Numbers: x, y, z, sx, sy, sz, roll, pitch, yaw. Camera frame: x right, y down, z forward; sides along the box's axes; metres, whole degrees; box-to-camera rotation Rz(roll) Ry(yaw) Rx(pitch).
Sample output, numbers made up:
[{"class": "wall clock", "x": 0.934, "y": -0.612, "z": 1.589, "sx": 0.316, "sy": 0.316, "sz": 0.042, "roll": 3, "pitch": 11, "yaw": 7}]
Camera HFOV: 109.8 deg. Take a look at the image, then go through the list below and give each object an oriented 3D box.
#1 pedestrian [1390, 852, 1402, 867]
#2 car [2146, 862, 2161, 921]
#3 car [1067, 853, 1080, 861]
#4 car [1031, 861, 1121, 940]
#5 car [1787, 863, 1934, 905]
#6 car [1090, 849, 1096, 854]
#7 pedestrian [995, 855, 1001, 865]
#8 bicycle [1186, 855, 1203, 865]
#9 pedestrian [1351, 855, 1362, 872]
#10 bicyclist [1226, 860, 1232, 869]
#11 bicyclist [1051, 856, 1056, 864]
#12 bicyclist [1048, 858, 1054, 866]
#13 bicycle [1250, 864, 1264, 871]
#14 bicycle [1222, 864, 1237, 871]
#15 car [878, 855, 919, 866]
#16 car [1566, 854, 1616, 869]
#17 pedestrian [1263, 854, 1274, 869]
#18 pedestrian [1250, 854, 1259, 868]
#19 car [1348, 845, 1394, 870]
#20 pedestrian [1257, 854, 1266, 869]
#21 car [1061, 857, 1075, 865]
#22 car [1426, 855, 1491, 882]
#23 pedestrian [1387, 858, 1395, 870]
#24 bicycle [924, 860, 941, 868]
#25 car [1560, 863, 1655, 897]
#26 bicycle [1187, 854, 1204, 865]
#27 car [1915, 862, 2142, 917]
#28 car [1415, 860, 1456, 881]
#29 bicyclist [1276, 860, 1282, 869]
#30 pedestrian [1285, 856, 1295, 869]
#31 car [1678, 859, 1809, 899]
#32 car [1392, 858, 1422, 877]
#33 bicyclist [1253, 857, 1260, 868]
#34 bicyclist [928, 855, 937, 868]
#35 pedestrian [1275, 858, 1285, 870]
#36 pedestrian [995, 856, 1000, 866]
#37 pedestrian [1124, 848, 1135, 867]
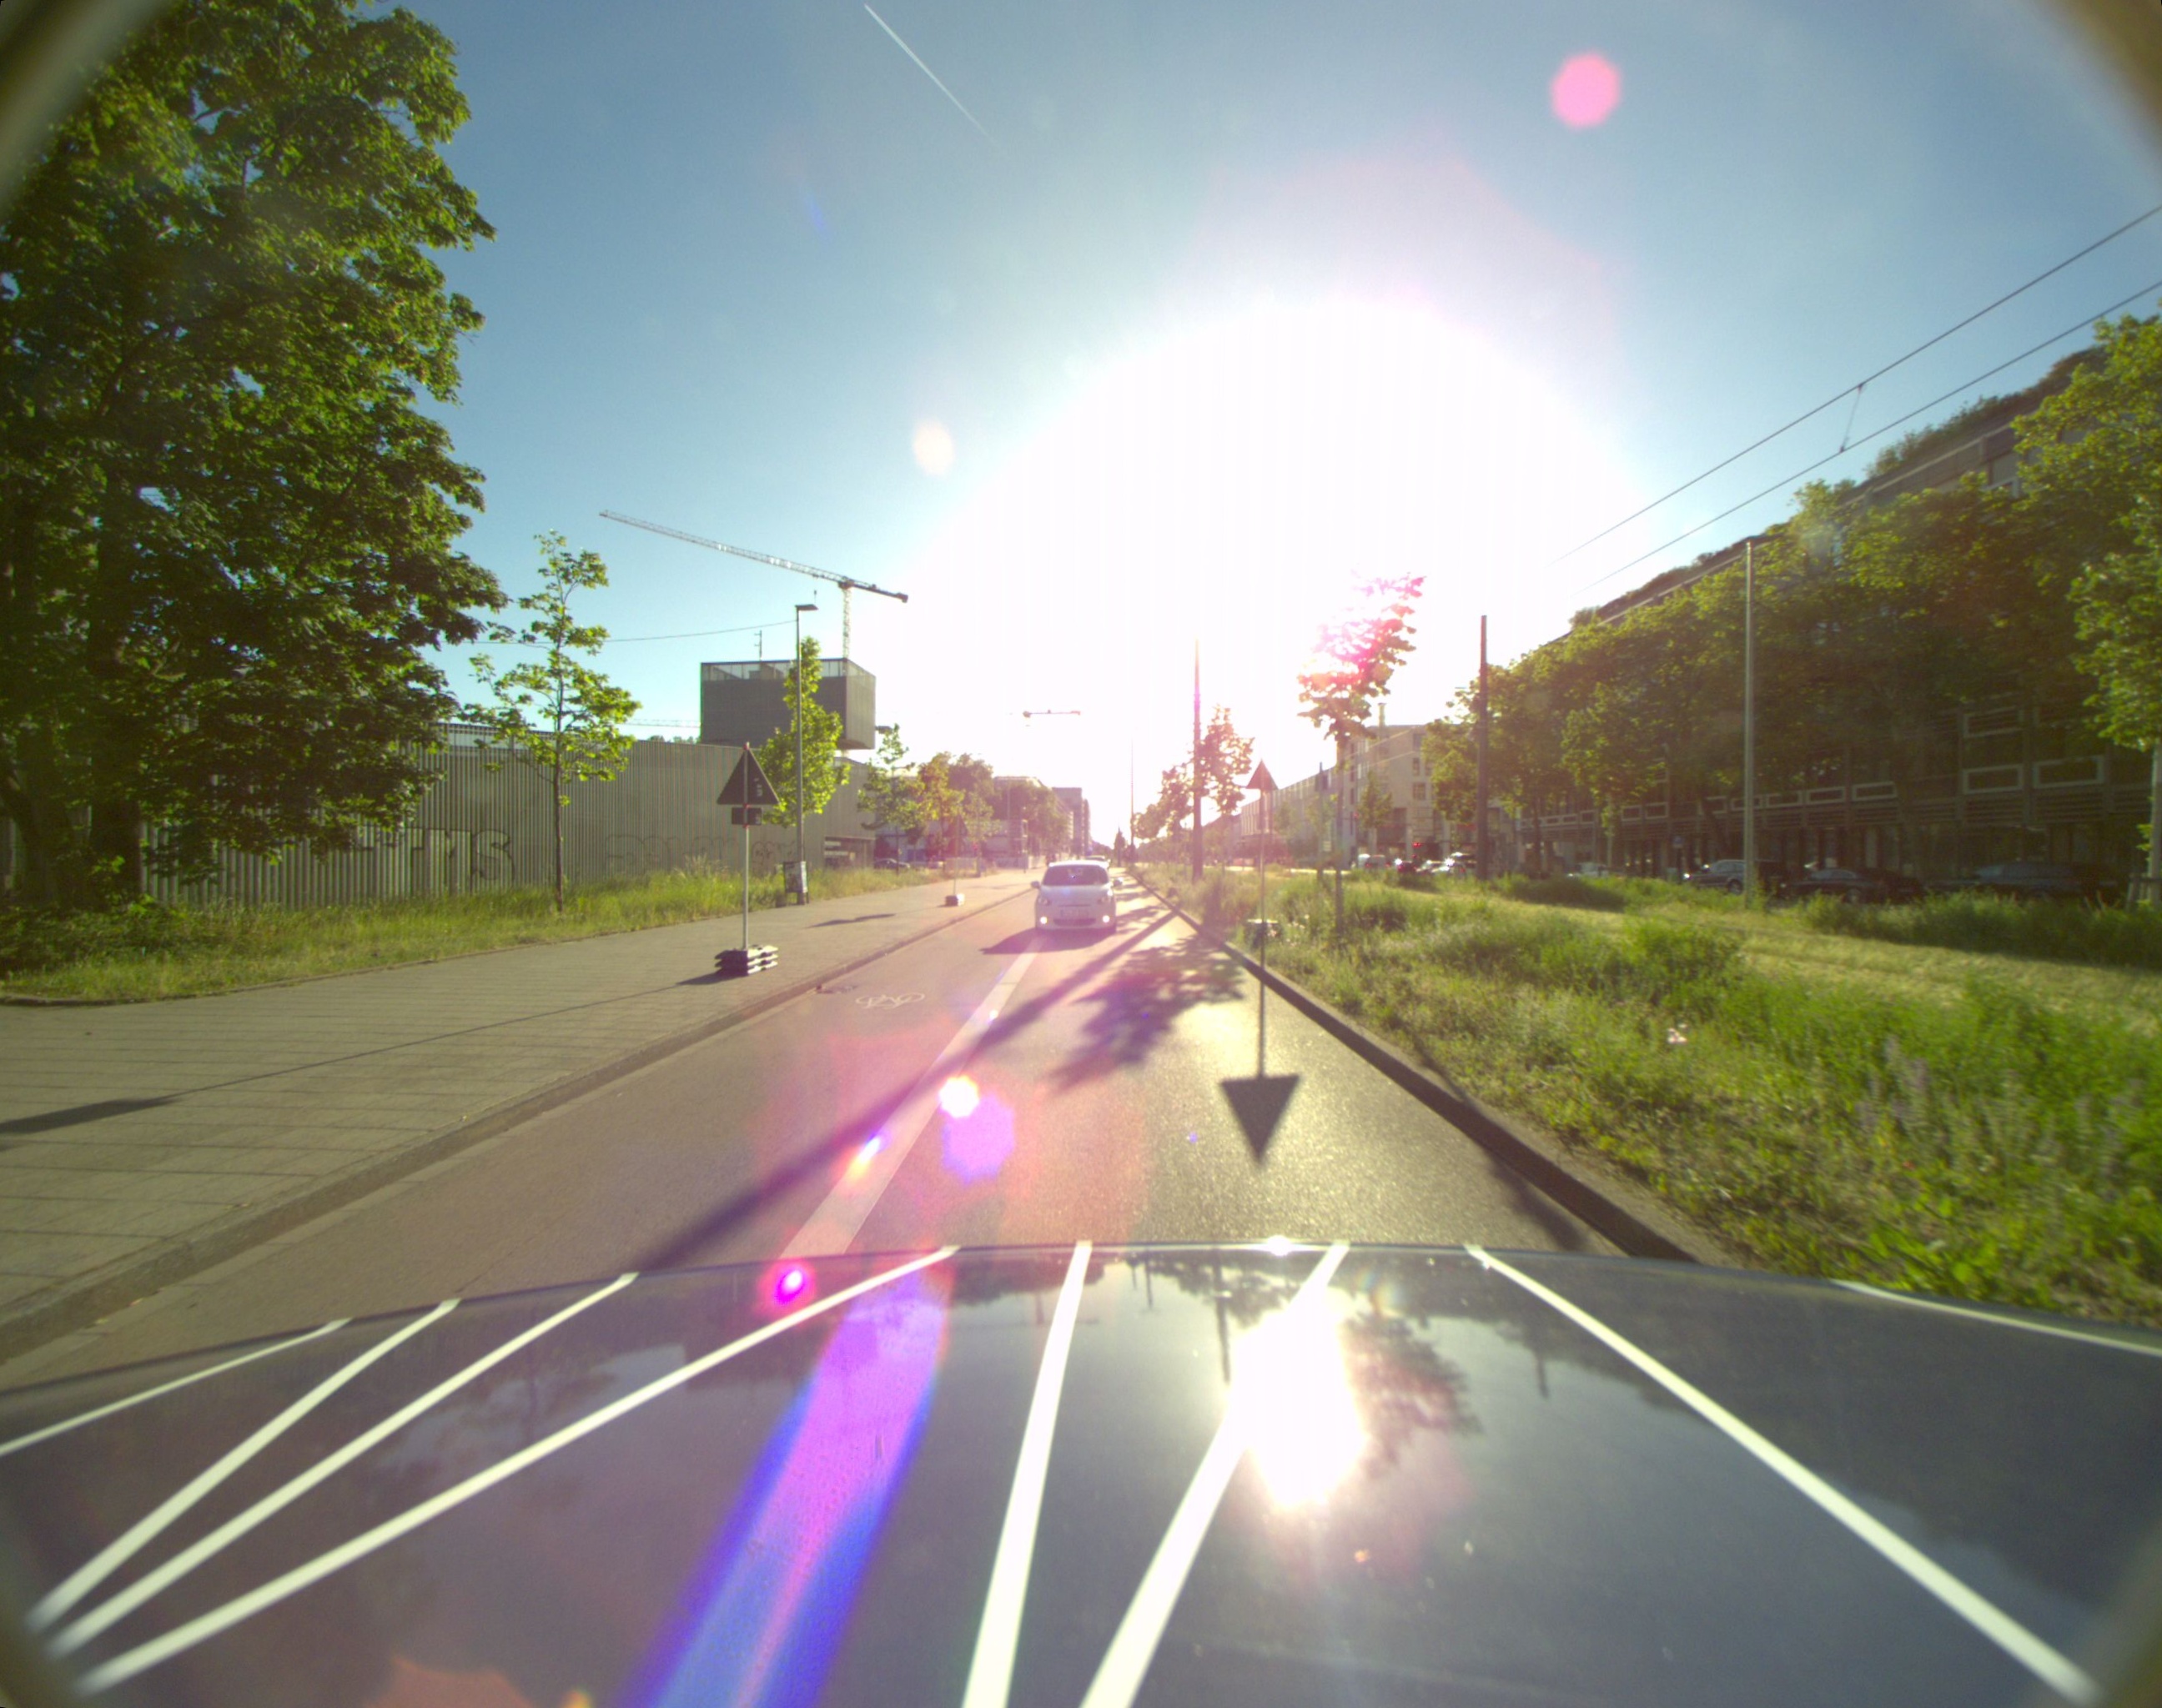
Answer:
[{"class": "pedestrian", "x": 32.499, "y": 0.547, "z": 78.363, "sx": 0.923, "sy": 1.540, "sz": 0.899, "roll": -2, "pitch": 0, "yaw": 4}, {"class": "car", "x": 30.743, "y": 1.070, "z": 19.102, "sx": 1.914, "sy": 1.623, "sz": 4.364, "roll": 2, "pitch": 0, "yaw": 5}, {"class": "car", "x": -1.307, "y": 0.485, "z": 131.684, "sx": 1.998, "sy": 1.368, "sz": 4.001, "roll": -1, "pitch": 0, "yaw": 4}, {"class": "car", "x": 0.006, "y": 0.926, "z": 16.691, "sx": 1.659, "sy": 1.463, "sz": 3.970, "roll": -1, "pitch": 0, "yaw": 4}, {"class": "car", "x": 30.894, "y": 1.138, "z": 30.322, "sx": 1.998, "sy": 1.512, "sz": 4.002, "roll": -1, "pitch": 0, "yaw": 6}, {"class": "car", "x": 3.764, "y": -0.778, "z": 229.264, "sx": 1.784, "sy": 1.317, "sz": 3.999, "roll": 0, "pitch": 1, "yaw": 2}, {"class": "pedestrian", "x": -13.120, "y": 0.967, "z": 120.035, "sx": 0.653, "sy": 1.670, "sz": 0.841, "roll": 0, "pitch": 0, "yaw": 8}, {"class": "bicycle", "x": 12.423, "y": 0.613, "z": 82.997, "sx": 1.798, "sy": 1.087, "sz": 0.652, "roll": 0, "pitch": 0, "yaw": 4}, {"class": "pedestrian", "x": 28.026, "y": 0.992, "z": 77.278, "sx": 0.738, "sy": 1.734, "sz": 0.858, "roll": -1, "pitch": 0, "yaw": 0}, {"class": "bicyclist", "x": 21.563, "y": 1.527, "z": 110.567, "sx": 0.842, "sy": 1.394, "sz": 0.806, "roll": -1, "pitch": 1, "yaw": 7}, {"class": "bicyclist", "x": -4.480, "y": 0.985, "z": 123.467, "sx": 0.805, "sy": 1.290, "sz": 0.776, "roll": -1, "pitch": 1, "yaw": 1}, {"class": "bicyclist", "x": -4.803, "y": 1.219, "z": 120.889, "sx": 0.636, "sy": 1.263, "sz": 0.807, "roll": -1, "pitch": 1, "yaw": 24}, {"class": "bicycle", "x": 25.464, "y": 1.907, "z": 109.930, "sx": 1.975, "sy": 0.991, "sz": 0.649, "roll": -1, "pitch": 0, "yaw": 8}, {"class": "bicycle", "x": 21.609, "y": 2.001, "z": 110.555, "sx": 2.074, "sy": 0.973, "sz": 0.806, "roll": -1, "pitch": 0, "yaw": 7}, {"class": "car", "x": -22.495, "y": 0.833, "z": 93.705, "sx": 4.519, "sy": 1.344, "sz": 1.778, "roll": 0, "pitch": 1, "yaw": 9}, {"class": "car", "x": 61.561, "y": 0.940, "z": 91.839, "sx": 4.543, "sy": 1.703, "sz": 2.126, "roll": 0, "pitch": 2, "yaw": 12}, {"class": "pedestrian", "x": 27.335, "y": 1.085, "z": 110.684, "sx": 1.098, "sy": 2.116, "sz": 1.062, "roll": 0, "pitch": 1, "yaw": -14}, {"class": "pedestrian", "x": 25.670, "y": 1.073, "z": 112.636, "sx": 0.948, "sy": 2.111, "sz": 0.896, "roll": 0, "pitch": 1, "yaw": -26}, {"class": "car", "x": 25.376, "y": 0.322, "z": 66.710, "sx": 2.263, "sy": 2.002, "sz": 5.711, "roll": 2, "pitch": 0, "yaw": 5}, {"class": "pedestrian", "x": 26.672, "y": 1.103, "z": 112.396, "sx": 0.948, "sy": 2.111, "sz": 0.897, "roll": 0, "pitch": 1, "yaw": -18}, {"class": "car", "x": -2.127, "y": 1.159, "z": 125.703, "sx": 1.998, "sy": 1.368, "sz": 4.001, "roll": -1, "pitch": 0, "yaw": 4}, {"class": "car", "x": 23.813, "y": 0.859, "z": 48.140, "sx": 1.844, "sy": 1.585, "sz": 4.693, "roll": 0, "pitch": 0, "yaw": 1}, {"class": "pedestrian", "x": 42.403, "y": 1.352, "z": 103.863, "sx": 0.756, "sy": 1.730, "sz": 0.753, "roll": 0, "pitch": 1, "yaw": 6}, {"class": "bicycle", "x": -17.931, "y": 1.213, "z": 91.894, "sx": 1.909, "sy": 0.903, "sz": 0.624, "roll": 0, "pitch": 1, "yaw": -3}, {"class": "car", "x": 26.301, "y": 1.268, "z": 38.166, "sx": 1.762, "sy": 1.507, "sz": 4.583, "roll": 1, "pitch": 0, "yaw": 3}, {"class": "bicycle", "x": 12.628, "y": 0.611, "z": 83.855, "sx": 1.814, "sy": 1.110, "sz": 0.626, "roll": 0, "pitch": 0, "yaw": 3}, {"class": "car", "x": 30.759, "y": 1.073, "z": 24.944, "sx": 1.748, "sy": 1.548, "sz": 4.623, "roll": -1, "pitch": 0, "yaw": 1}, {"class": "car", "x": 27.809, "y": 1.277, "z": 59.686, "sx": 1.714, "sy": 1.444, "sz": 3.577, "roll": 3, "pitch": 0, "yaw": 5}, {"class": "bicyclist", "x": 29.624, "y": 1.607, "z": 113.510, "sx": 0.840, "sy": 1.349, "sz": 0.806, "roll": -1, "pitch": 1, "yaw": 15}, {"class": "pedestrian", "x": 30.914, "y": 1.246, "z": 112.276, "sx": 1.024, "sy": 2.002, "sz": 0.916, "roll": 0, "pitch": 1, "yaw": -13}, {"class": "car", "x": 31.451, "y": 1.128, "z": 36.306, "sx": 1.998, "sy": 1.670, "sz": 4.868, "roll": -1, "pitch": 0, "yaw": 0}, {"class": "car", "x": 28.803, "y": 1.193, "z": 67.231, "sx": 1.842, "sy": 1.477, "sz": 3.885, "roll": 3, "pitch": 0, "yaw": 15}, {"class": "bicyclist", "x": 25.449, "y": 1.243, "z": 109.932, "sx": 0.940, "sy": 1.536, "sz": 0.649, "roll": -1, "pitch": 0, "yaw": 8}, {"class": "bicyclist", "x": -17.942, "y": 0.888, "z": 91.889, "sx": 0.937, "sy": 1.495, "sz": 0.624, "roll": 0, "pitch": 1, "yaw": -3}, {"class": "pedestrian", "x": 28.821, "y": 1.414, "z": 110.257, "sx": 0.950, "sy": 1.641, "sz": 1.005, "roll": -1, "pitch": 1, "yaw": -38}, {"class": "pedestrian", "x": -13.109, "y": 1.027, "z": 118.974, "sx": 0.653, "sy": 1.579, "sz": 0.841, "roll": 0, "pitch": 0, "yaw": 8}, {"class": "pedestrian", "x": 4.825, "y": 0.380, "z": 75.968, "sx": 1.049, "sy": 1.900, "sz": 1.016, "roll": 0, "pitch": 1, "yaw": 8}]
